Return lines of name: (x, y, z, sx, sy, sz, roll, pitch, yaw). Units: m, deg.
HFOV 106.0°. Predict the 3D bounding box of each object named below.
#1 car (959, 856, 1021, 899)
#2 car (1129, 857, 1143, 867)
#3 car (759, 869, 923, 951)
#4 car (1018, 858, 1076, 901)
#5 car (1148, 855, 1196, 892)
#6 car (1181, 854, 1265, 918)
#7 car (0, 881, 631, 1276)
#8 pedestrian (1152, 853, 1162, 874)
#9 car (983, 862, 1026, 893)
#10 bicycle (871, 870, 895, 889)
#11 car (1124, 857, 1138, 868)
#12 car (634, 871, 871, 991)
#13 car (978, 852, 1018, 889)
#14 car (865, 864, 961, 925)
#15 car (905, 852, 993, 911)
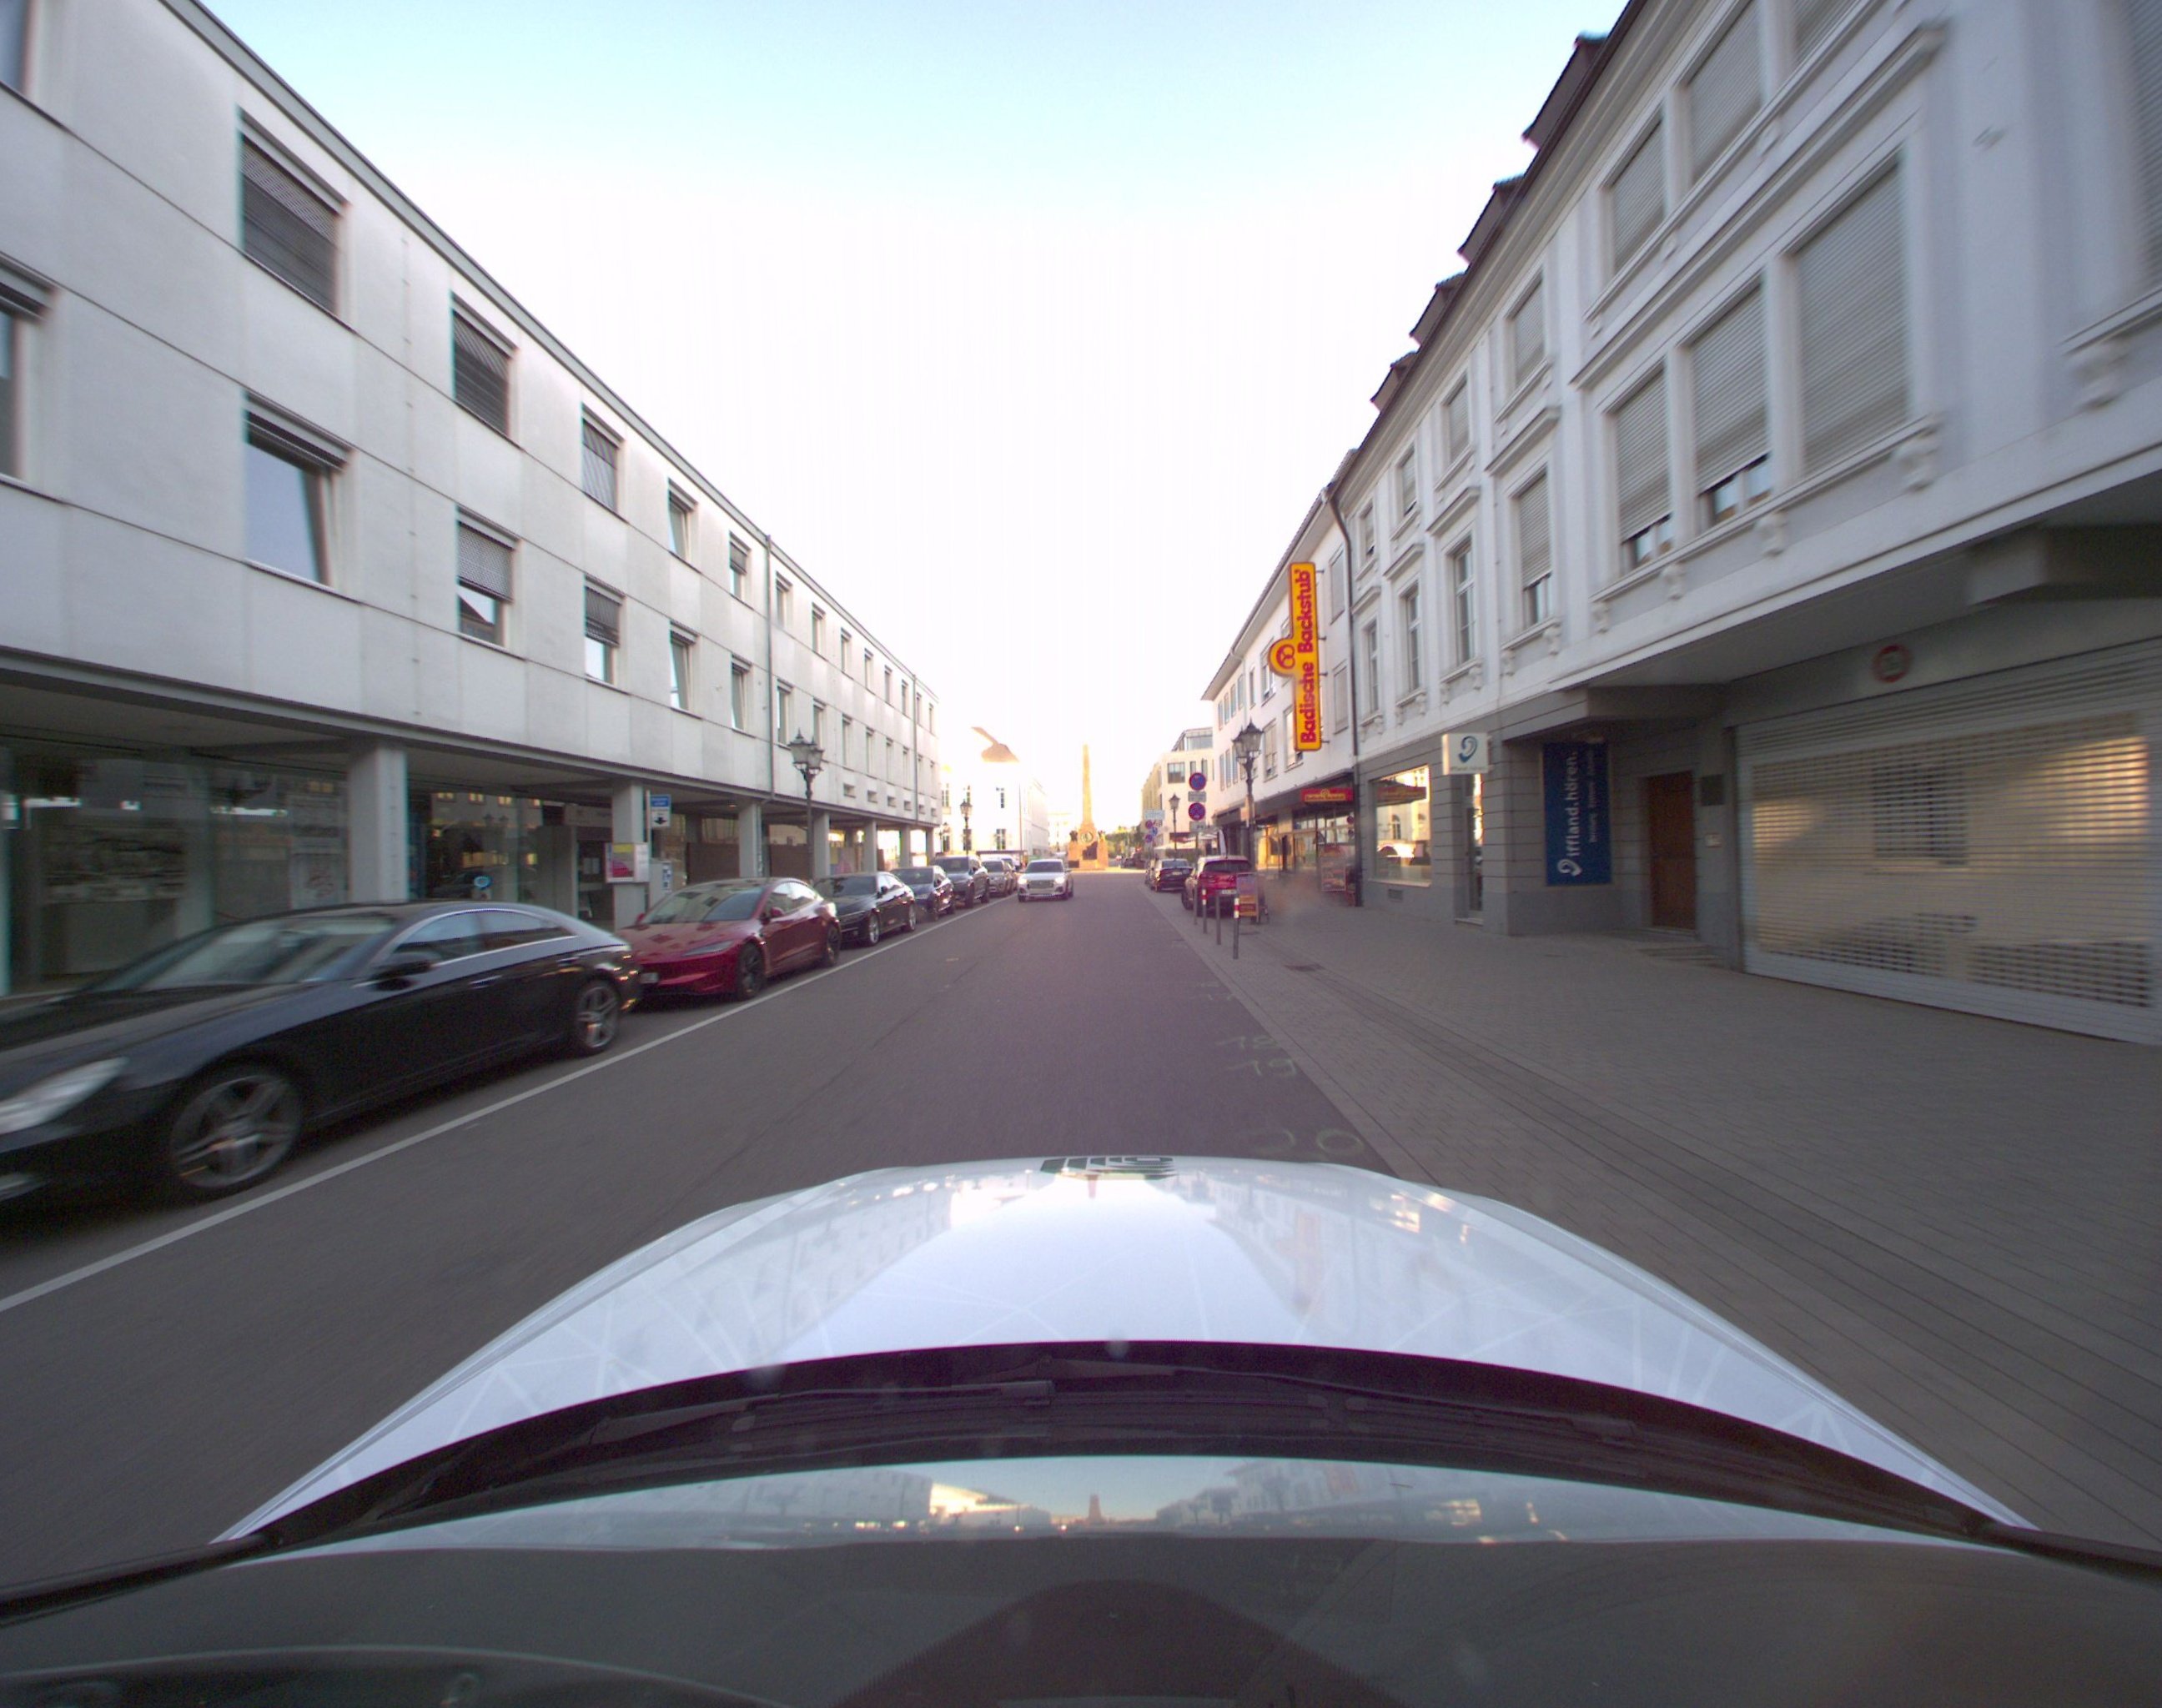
car: (-3.748, 0.933, 34.235, 1.986, 1.662, 4.002, -1, 0, 2)
car: (8.501, 1.214, 125.812, 1.985, 1.464, 4.004, -2, 0, 3)
car: (-4.701, 1.050, 16.644, 1.986, 1.354, 4.002, -1, 0, 2)
car: (-1.168, 0.870, 29.865, 1.757, 1.422, 4.002, -1, 0, 2)
car: (3.925, 0.815, 35.709, 1.794, 1.464, 4.119, -1, 0, 2)
car: (3.715, 0.792, 21.854, 1.752, 1.523, 3.679, -1, 0, 2)
car: (-5.013, 0.969, 5.223, 1.778, 1.408, 4.091, -2, 0, 3)
pedestrian: (5.935, 0.743, 63.719, 0.687, 1.647, 0.696, -2, 0, 1)
car: (-3.577, 1.079, 38.741, 1.672, 1.353, 4.104, -1, 0, -1)
bicycle: (-11.296, 1.451, 46.557, 0.730, 0.983, 2.335, -1, 0, 1)
car: (7.254, 1.243, 117.351, 1.985, 1.464, 4.004, -2, 0, 3)
car: (-4.770, 1.036, 12.547, 1.778, 1.408, 4.091, -2, 0, 3)
car: (-4.398, 0.855, 43.798, 1.990, 1.816, 4.775, -1, 0, -5)
car: (-4.475, 1.032, 22.306, 1.667, 1.400, 4.001, -2, 0, 1)
car: (-4.331, 0.864, 27.466, 1.986, 1.728, 4.518, -3, 0, 2)
